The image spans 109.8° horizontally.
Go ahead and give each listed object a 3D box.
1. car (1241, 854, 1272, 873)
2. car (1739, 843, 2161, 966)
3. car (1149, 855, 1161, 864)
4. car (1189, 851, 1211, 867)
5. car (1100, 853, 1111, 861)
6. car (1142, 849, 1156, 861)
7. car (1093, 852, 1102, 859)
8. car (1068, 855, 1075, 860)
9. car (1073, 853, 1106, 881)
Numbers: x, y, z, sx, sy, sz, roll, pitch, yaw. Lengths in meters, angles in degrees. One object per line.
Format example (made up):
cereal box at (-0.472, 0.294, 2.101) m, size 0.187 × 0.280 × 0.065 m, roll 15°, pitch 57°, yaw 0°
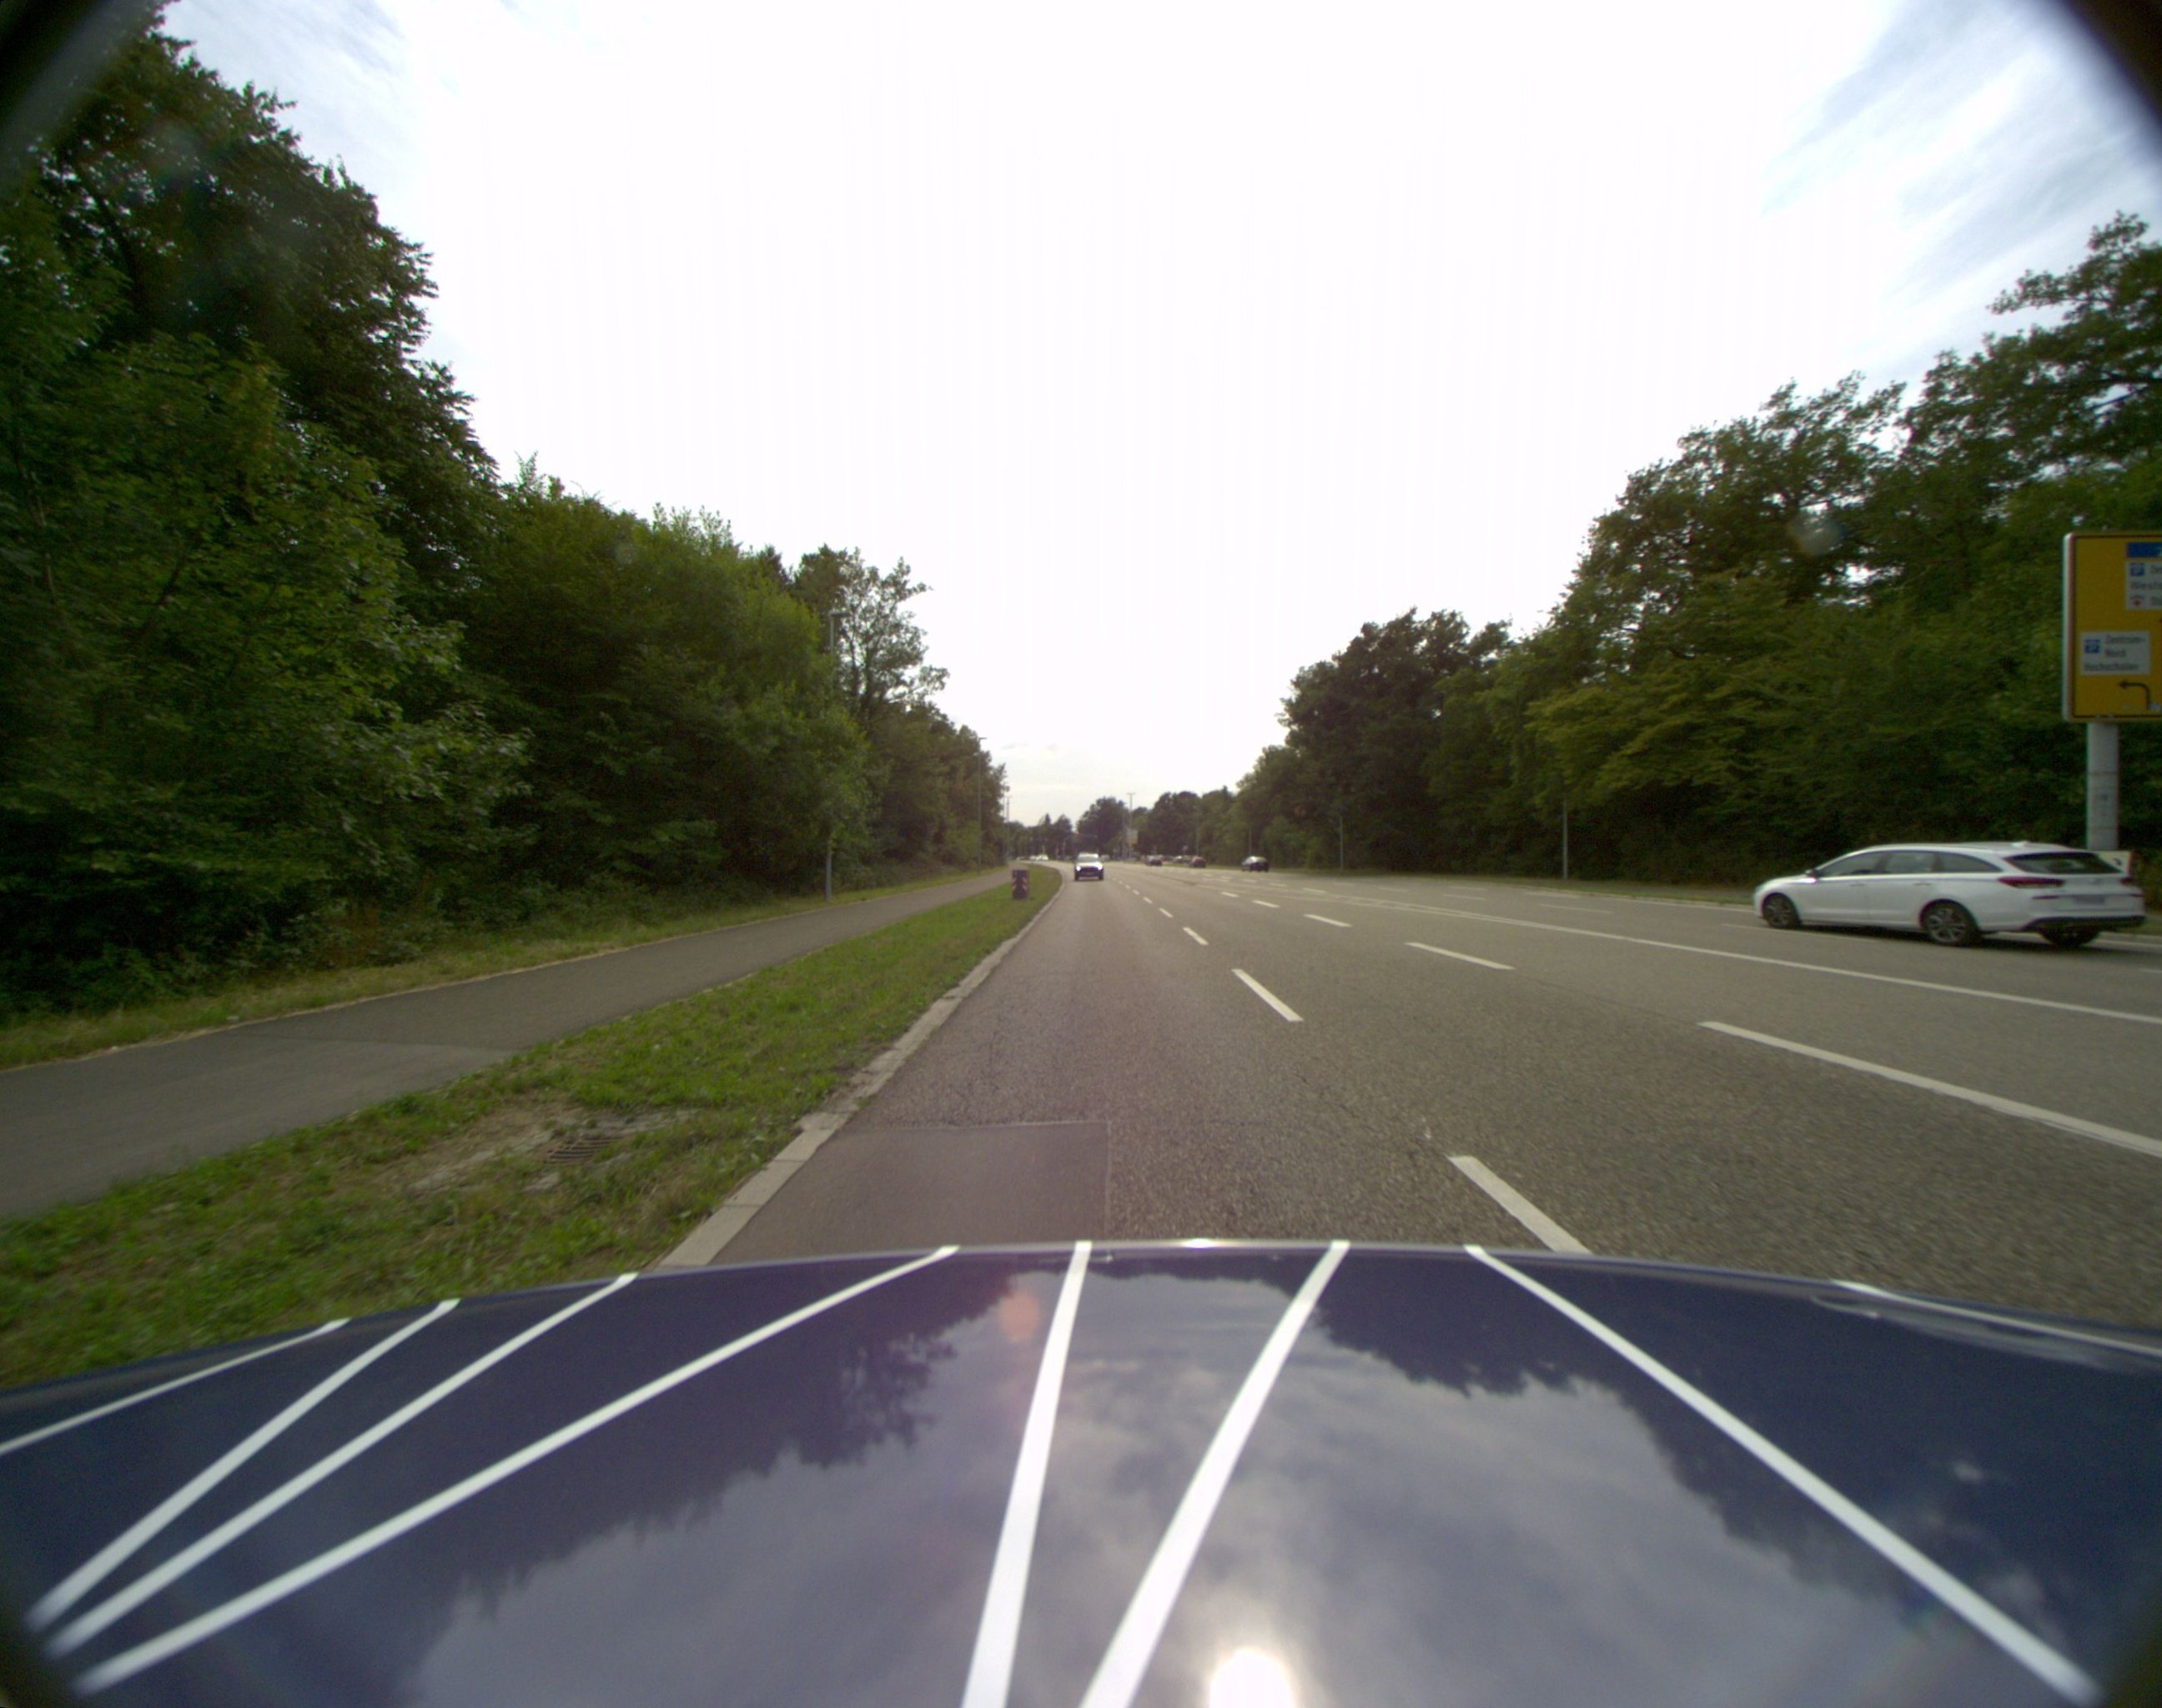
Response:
car at (16.471, 0.896, 71.435) m, size 1.998 × 1.585 × 4.000 m, roll -3°, pitch 1°, yaw 1°
car at (13.314, 0.621, 12.027) m, size 1.939 × 1.492 × 4.591 m, roll -3°, pitch 1°, yaw 3°
car at (11.350, 0.830, 116.582) m, size 1.400 × 1.263 × 3.778 m, roll -3°, pitch 1°, yaw -1°
car at (15.448, 0.637, 99.003) m, size 1.999 × 1.871 × 3.998 m, roll -3°, pitch 1°, yaw -3°
car at (5.345, 0.651, 166.216) m, size 1.999 × 1.718 × 3.999 m, roll -1°, pitch 0°, yaw -3°
car at (12.862, 0.196, 144.401) m, size 1.999 × 2.002 × 3.998 m, roll -3°, pitch 1°, yaw -3°
car at (4.125, 0.415, 189.162) m, size 1.999 × 1.718 × 3.999 m, roll -1°, pitch 0°, yaw -3°
car at (-2.587, 0.919, 205.621) m, size 1.702 × 1.368 × 3.999 m, roll -1°, pitch 0°, yaw -1°
car at (0.518, 0.820, 49.436) m, size 1.998 × 1.565 × 3.999 m, roll -3°, pitch 1°, yaw 0°
